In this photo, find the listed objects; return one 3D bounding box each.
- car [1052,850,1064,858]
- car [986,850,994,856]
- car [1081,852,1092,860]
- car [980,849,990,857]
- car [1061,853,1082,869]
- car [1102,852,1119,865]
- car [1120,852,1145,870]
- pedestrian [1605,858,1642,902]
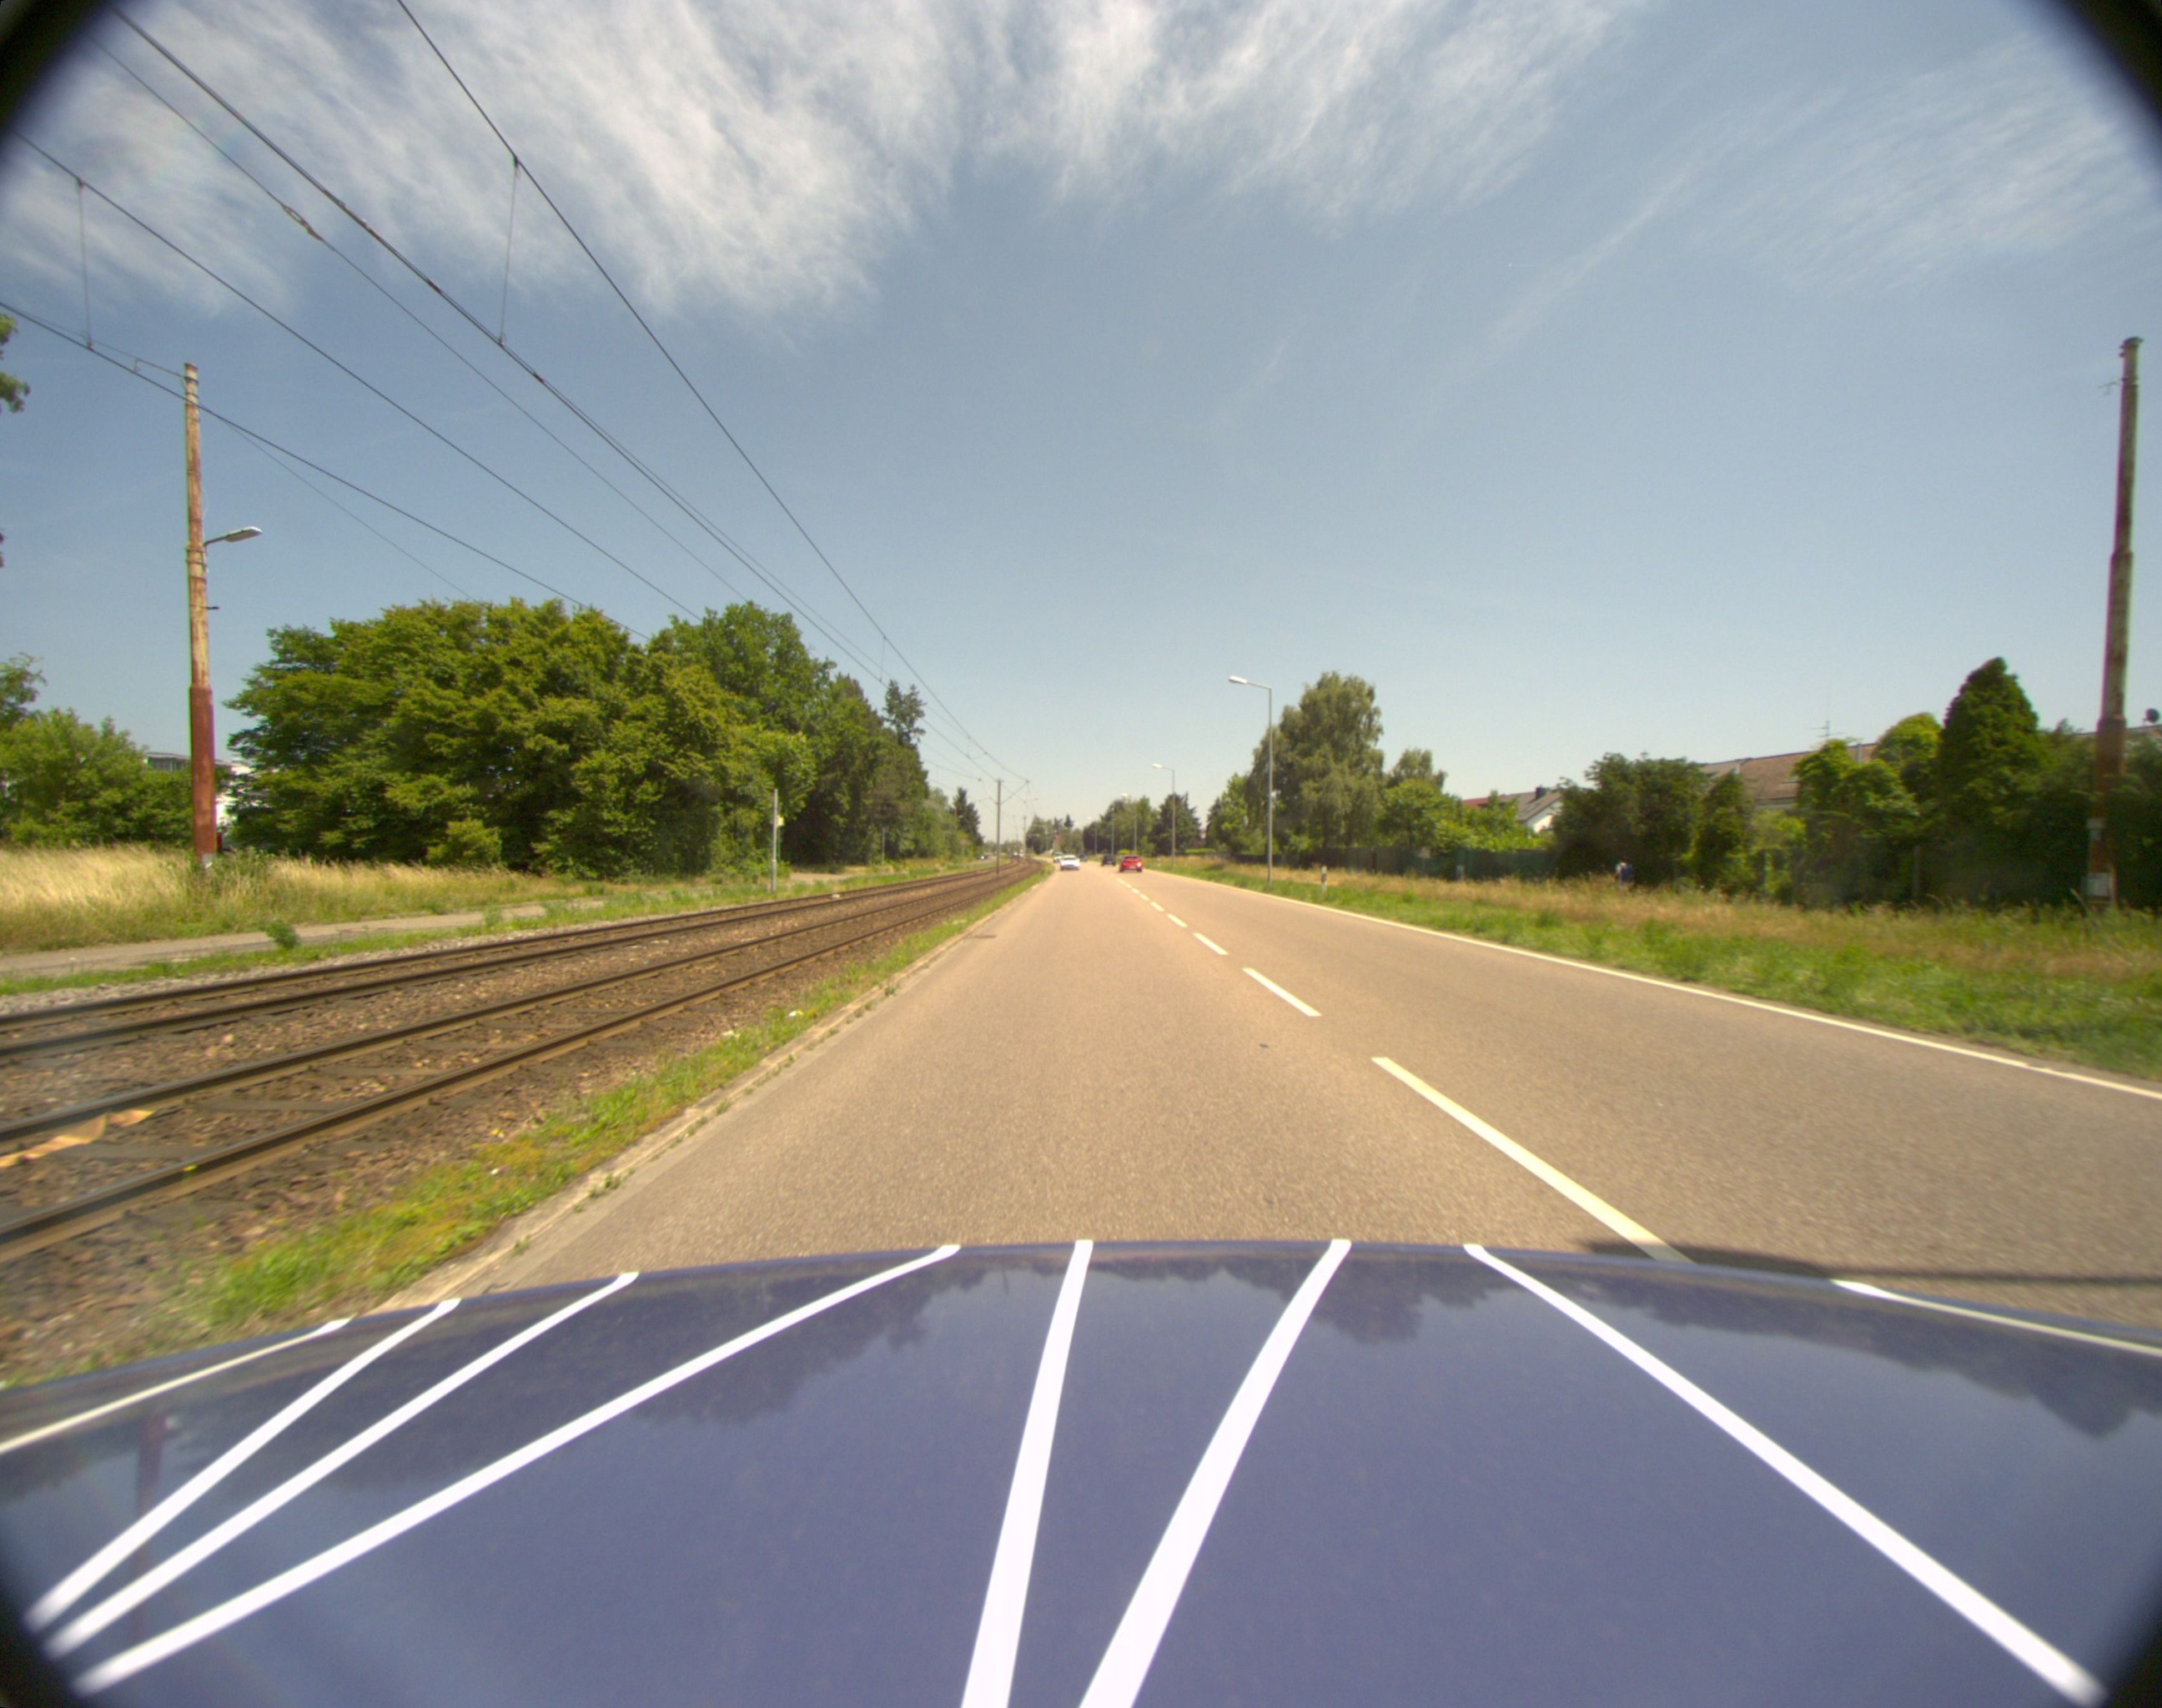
[{"bbox_3d":[-4.183,0.055,138.144,1.892,1.456,3.998,0,0,-4],"label":"car"},{"bbox_3d":[-25.544,-0.368,213.313,1.947,1.685,3.997,-2,1,-6],"label":"car"},{"bbox_3d":[0.995,0.364,139.558,1.820,1.496,3.999,0,0,-2],"label":"car"},{"bbox_3d":[-22.900,-0.205,180.852,1.999,1.710,3.998,-2,1,-2],"label":"car"},{"bbox_3d":[-0.930,0.689,75.688,1.955,1.467,4.361,0,0,0],"label":"car"},{"bbox_3d":[3.606,0.557,93.419,1.689,1.561,3.966,0,0,-2],"label":"car"},{"bbox_3d":[4.202,0.569,62.763,1.684,1.391,3.999,0,0,-2],"label":"car"},{"bbox_3d":[16.884,0.799,23.655,0.582,1.347,0.798,0,1,0],"label":"pedestrian"}]
